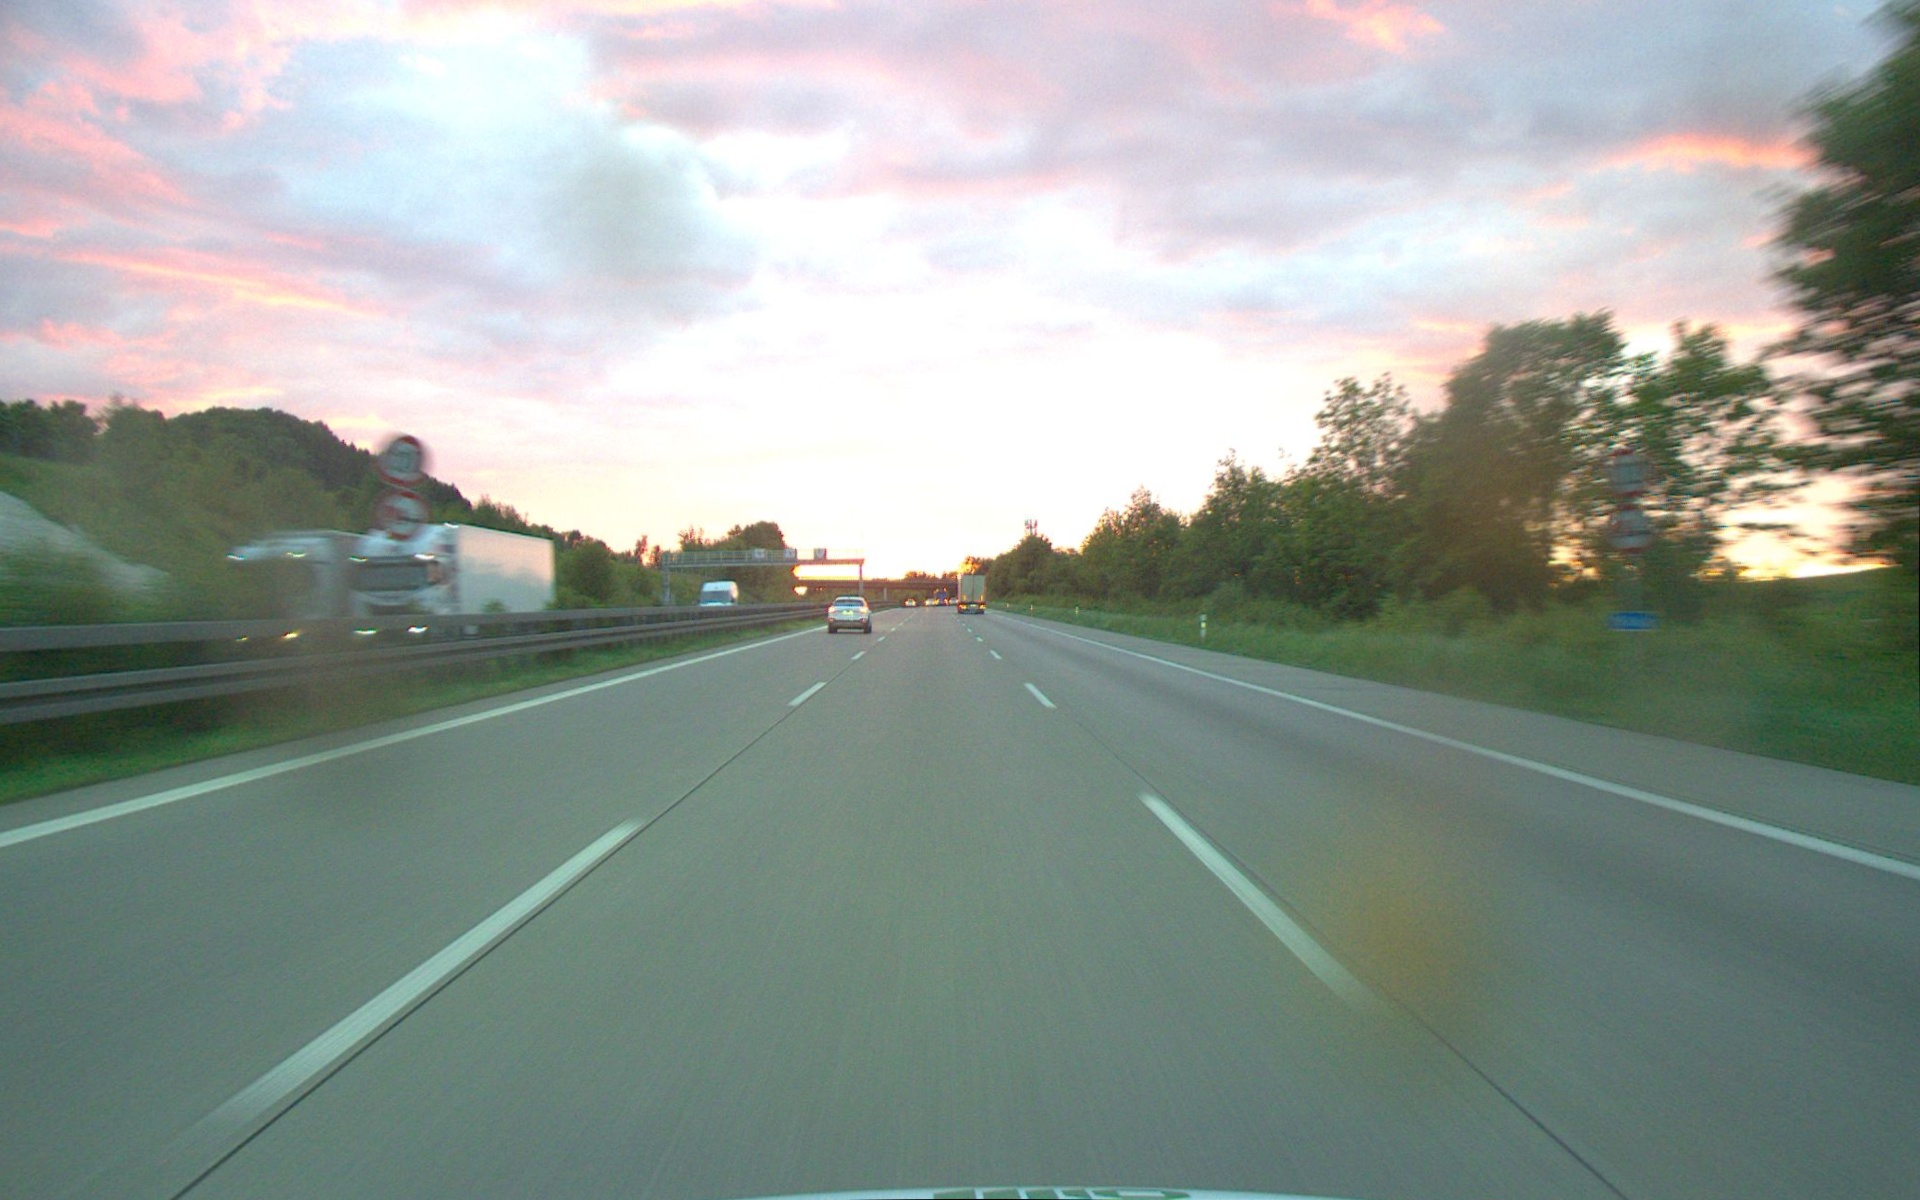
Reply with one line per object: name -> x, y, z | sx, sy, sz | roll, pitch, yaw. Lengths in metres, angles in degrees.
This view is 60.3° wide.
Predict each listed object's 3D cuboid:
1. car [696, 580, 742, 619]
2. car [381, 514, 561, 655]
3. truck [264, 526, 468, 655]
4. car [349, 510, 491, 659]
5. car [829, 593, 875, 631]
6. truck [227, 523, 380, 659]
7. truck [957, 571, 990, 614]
car -> -14.804, -0.055, 101.939 | 1.953, 2.327, 6.338 | 0, 0, -1
car -> -17.554, -0.502, 60.640 | 2.741, 4.565, 13.908 | 0, 0, -1
truck -> -21.798, -0.319, 61.877 | 2.836, 4.284, 13.599 | 0, 0, 0
car -> -17.398, -0.479, 53.672 | 2.741, 4.566, 5.928 | 0, 0, -1
car -> -4.656, 0.494, 71.584 | 1.753, 1.527, 5.036 | 1, 0, -1
truck -> -21.751, -0.295, 55.137 | 2.798, 4.284, 5.863 | 0, 0, -1
truck -> 1.365, -0.765, 168.279 | 3.178, 4.199, 9.786 | -1, 0, 0
